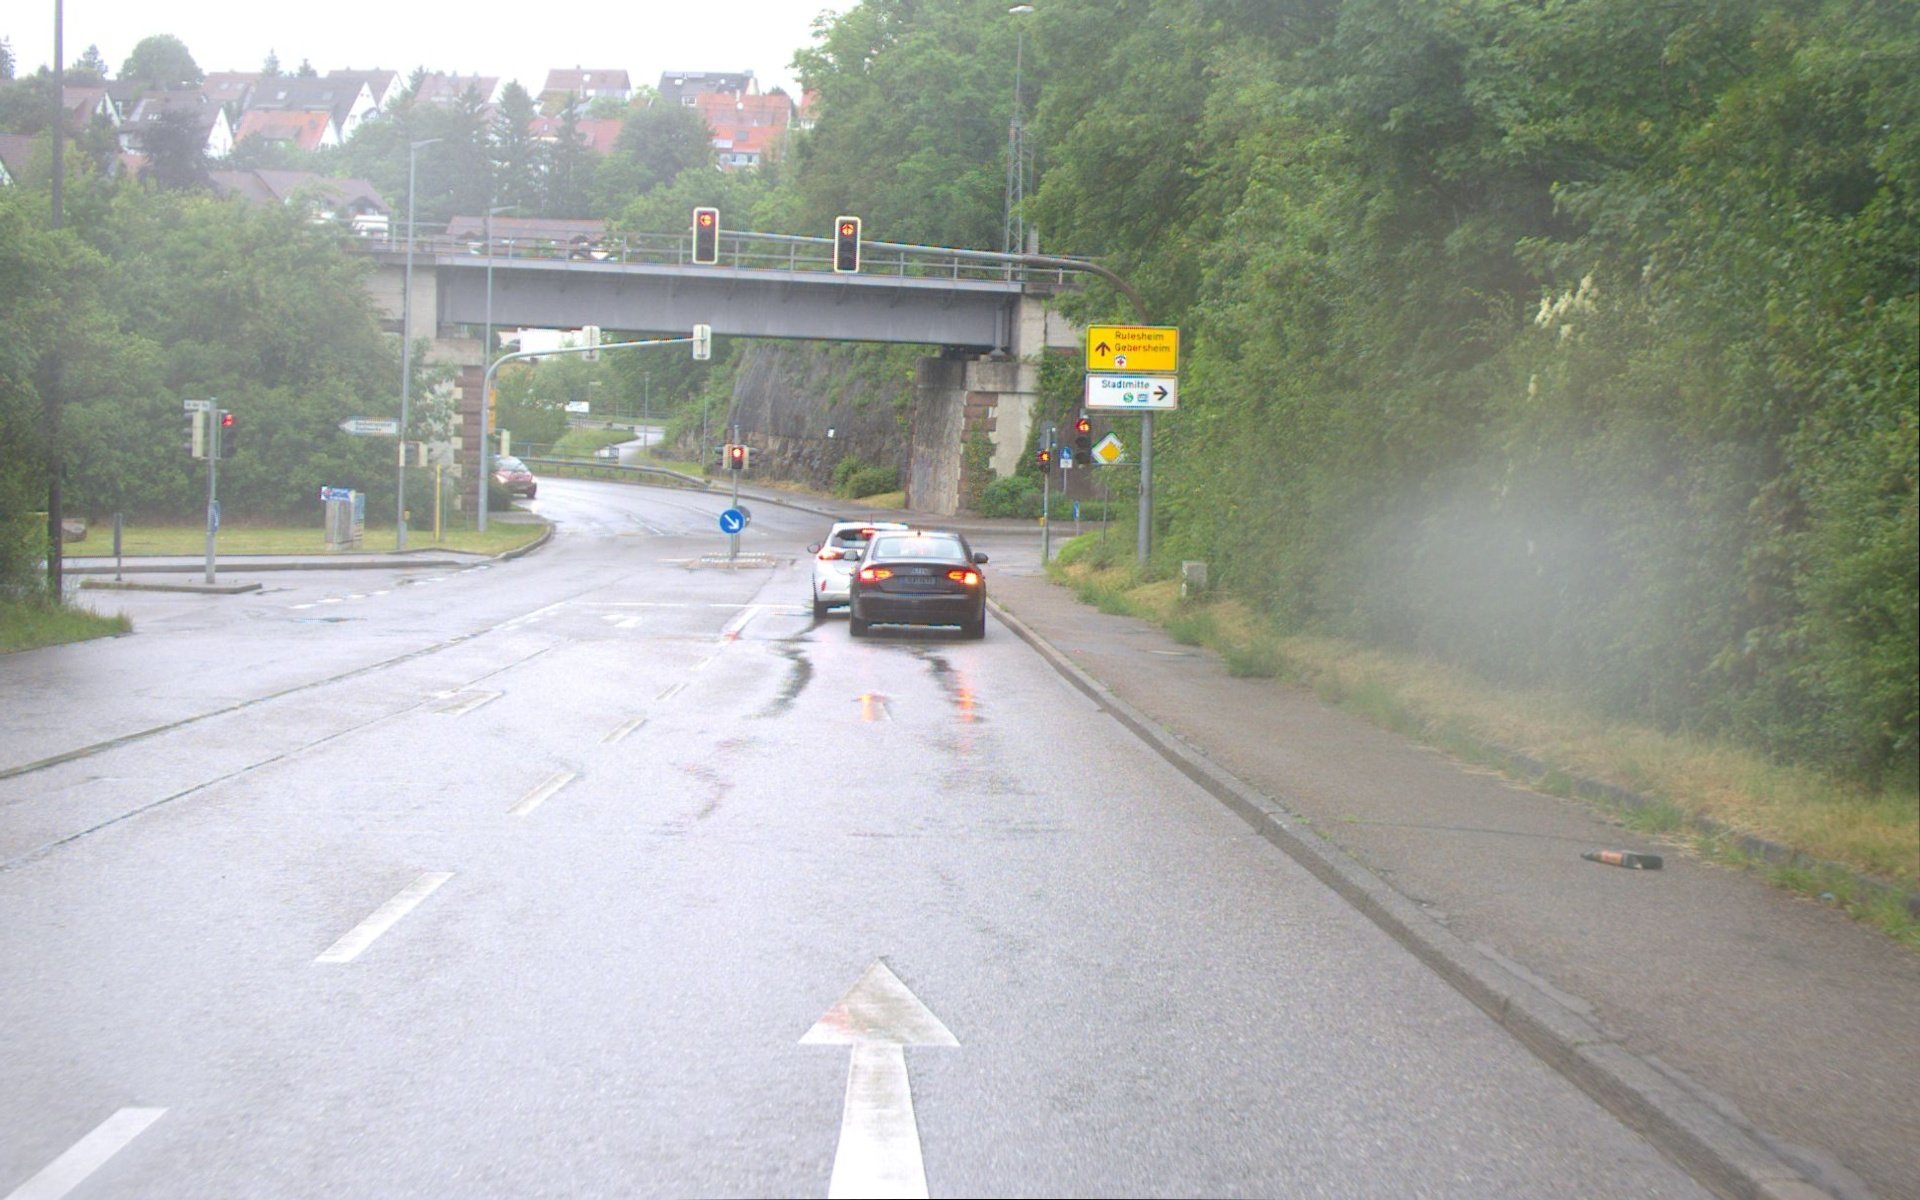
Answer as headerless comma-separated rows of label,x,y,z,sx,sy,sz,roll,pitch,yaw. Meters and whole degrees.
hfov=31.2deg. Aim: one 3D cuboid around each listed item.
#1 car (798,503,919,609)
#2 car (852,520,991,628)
car,-1.518,-0.687,52.636,1.768,1.557,4.000,0,1,-1
car,-0.514,-0.368,45.982,1.768,1.375,4.000,0,1,-1
